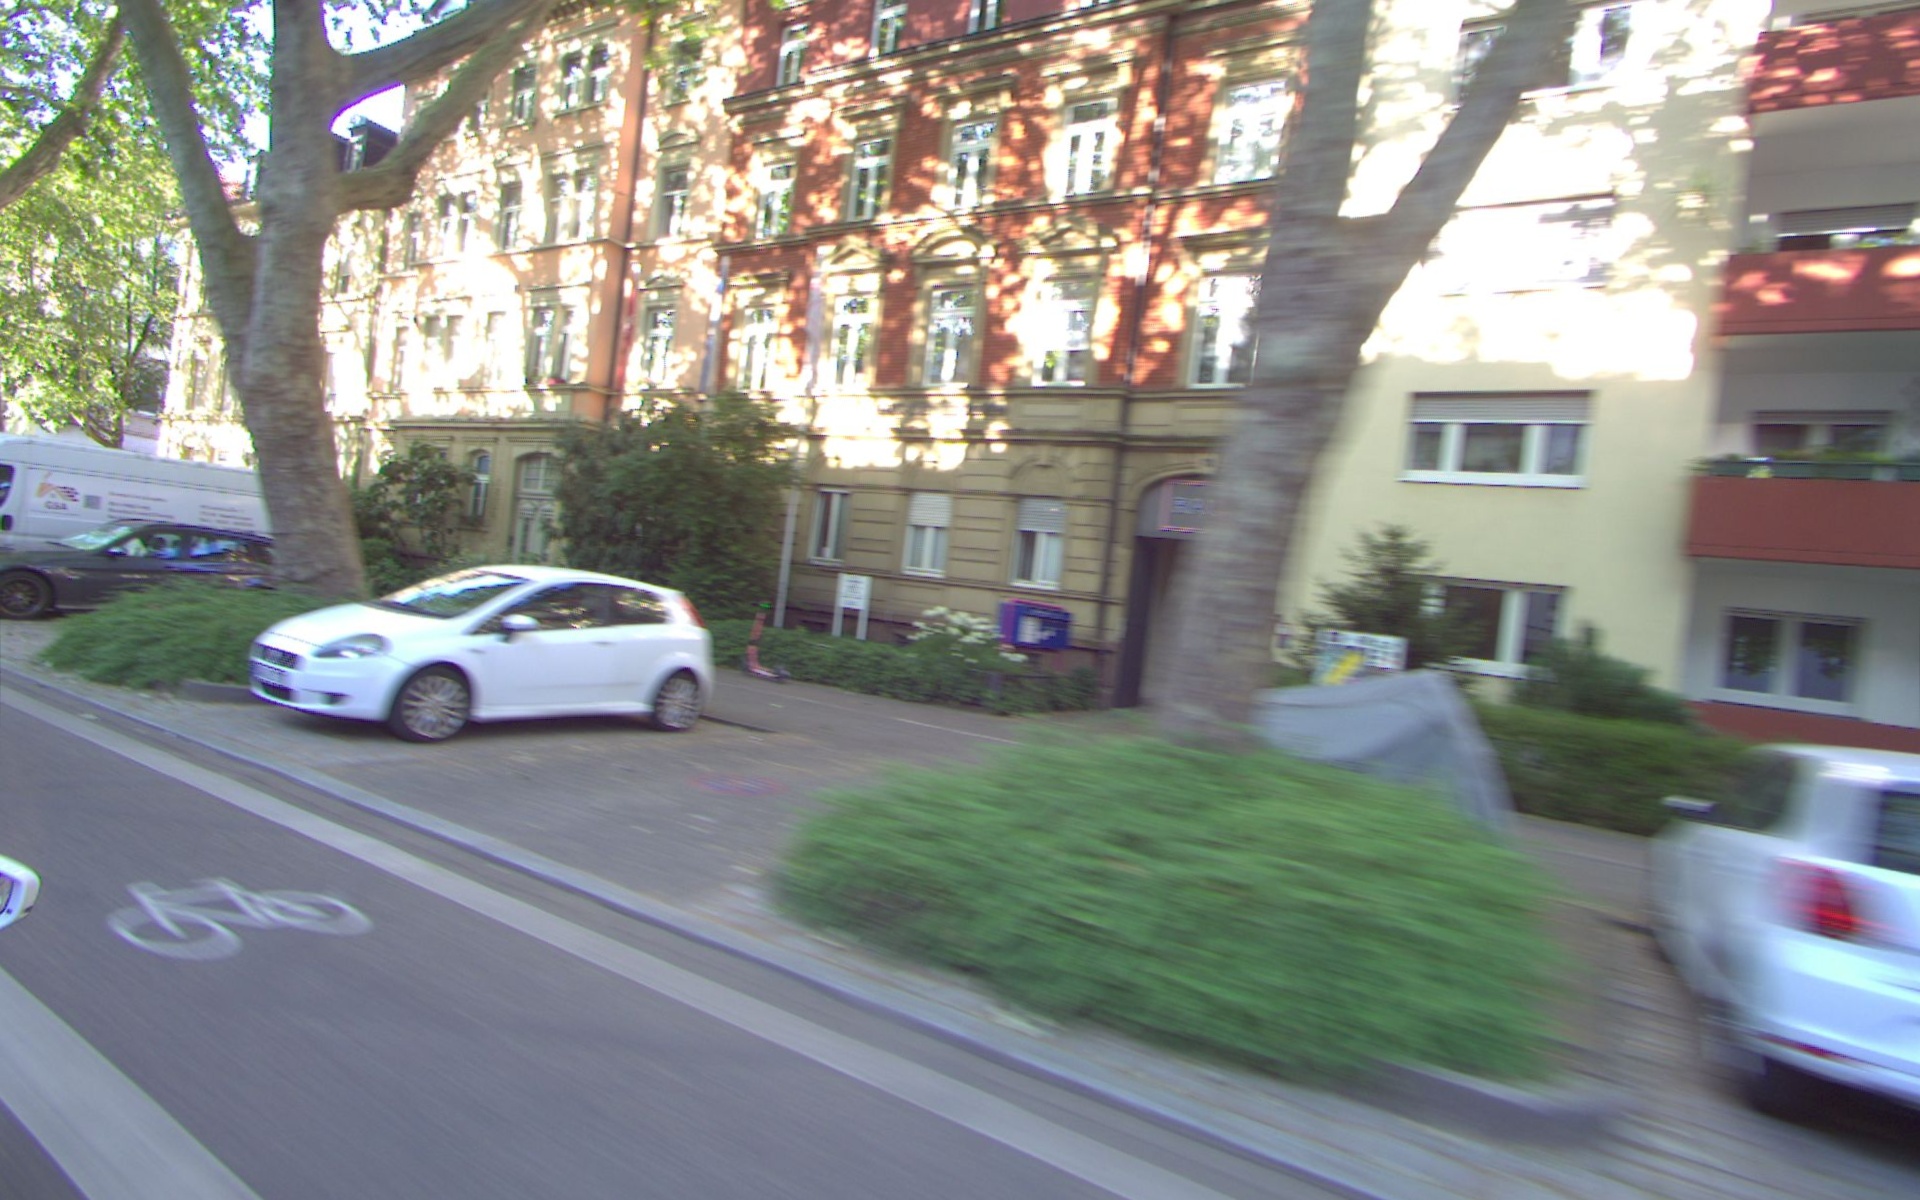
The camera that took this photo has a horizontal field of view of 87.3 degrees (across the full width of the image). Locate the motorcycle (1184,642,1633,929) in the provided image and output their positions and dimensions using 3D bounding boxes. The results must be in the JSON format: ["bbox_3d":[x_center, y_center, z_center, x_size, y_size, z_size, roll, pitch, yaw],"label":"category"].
[{"bbox_3d":[3.222,1.241,7.478,2.771,1.497,0.841,7,0,31],"label":"motorcycle"}]

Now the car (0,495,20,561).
[{"bbox_3d":[-23.925,-1.898,22.330,1.766,1.477,4.061,7,-1,30],"label":"car"}]

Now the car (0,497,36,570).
[{"bbox_3d":[-21.985,-1.642,20.712,1.766,1.496,3.960,7,-1,31],"label":"car"}]

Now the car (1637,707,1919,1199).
[{"bbox_3d":[4.349,1.395,4.619,1.632,1.513,3.615,7,-1,30],"label":"car"}]

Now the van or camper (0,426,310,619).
[{"bbox_3d":[-14.049,-1.235,15.760,2.072,2.521,6.041,7,0,31],"label":"van or camper"}]

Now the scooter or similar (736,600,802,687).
[{"bbox_3d":[-3.023,0.671,15.885,1.107,1.239,0.274,7,0,41],"label":"scooter or similar"}]

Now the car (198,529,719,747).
[{"bbox_3d":[-4.375,0.380,9.375,1.661,1.498,3.956,7,0,34],"label":"car"}]

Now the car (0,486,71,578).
[{"bbox_3d":[-19.760,-1.504,19.039,1.765,1.675,3.962,6,-1,29],"label":"car"}]

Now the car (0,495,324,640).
[{"bbox_3d":[-12.008,-0.455,14.483,1.753,1.569,4.398,7,-2,31],"label":"car"}]
